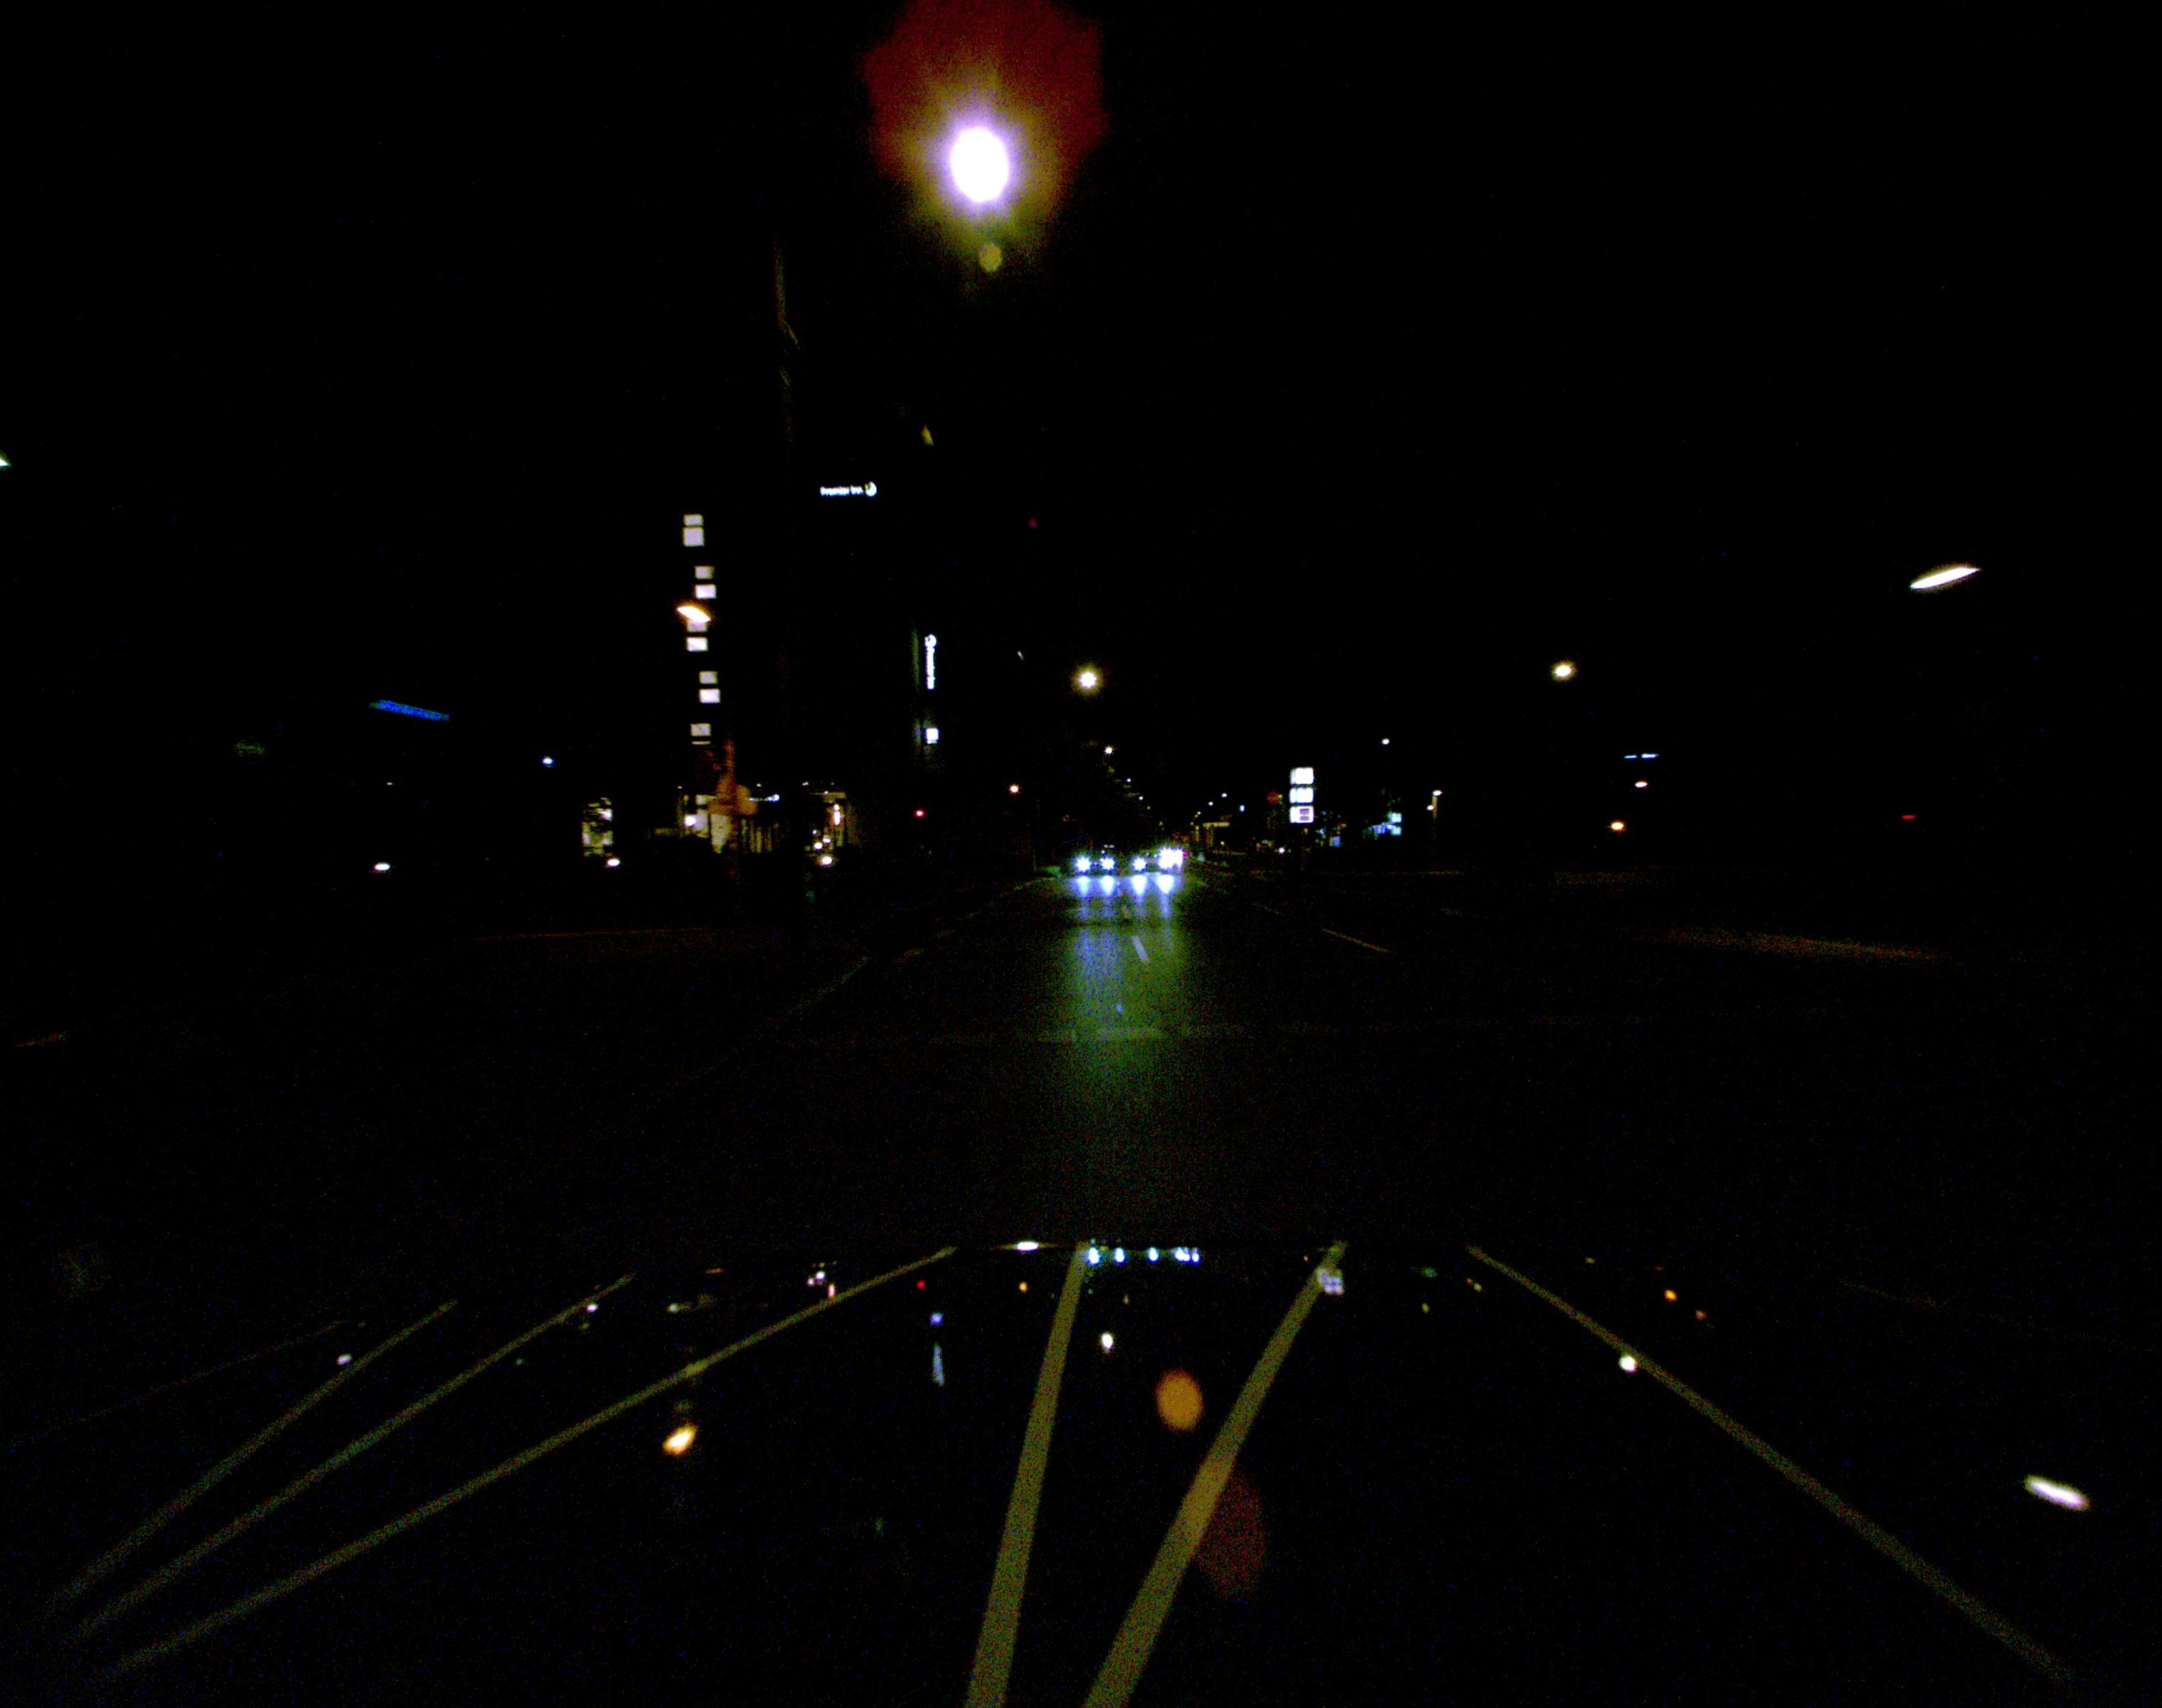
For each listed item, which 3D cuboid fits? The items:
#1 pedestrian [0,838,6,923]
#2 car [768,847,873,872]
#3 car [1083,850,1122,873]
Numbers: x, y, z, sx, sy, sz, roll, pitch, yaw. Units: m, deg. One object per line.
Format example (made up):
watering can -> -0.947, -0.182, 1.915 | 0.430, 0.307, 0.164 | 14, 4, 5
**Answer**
pedestrian -> -24.156, 0.602, 16.427 | 0.664, 1.866, 0.731 | -2, 1, -1
car -> -11.172, 0.246, 32.744 | 4.008, 1.028, 1.480 | 0, -1, -39
car -> 1.378, 0.425, 46.702 | 1.947, 1.299, 3.907 | 0, 1, 8
